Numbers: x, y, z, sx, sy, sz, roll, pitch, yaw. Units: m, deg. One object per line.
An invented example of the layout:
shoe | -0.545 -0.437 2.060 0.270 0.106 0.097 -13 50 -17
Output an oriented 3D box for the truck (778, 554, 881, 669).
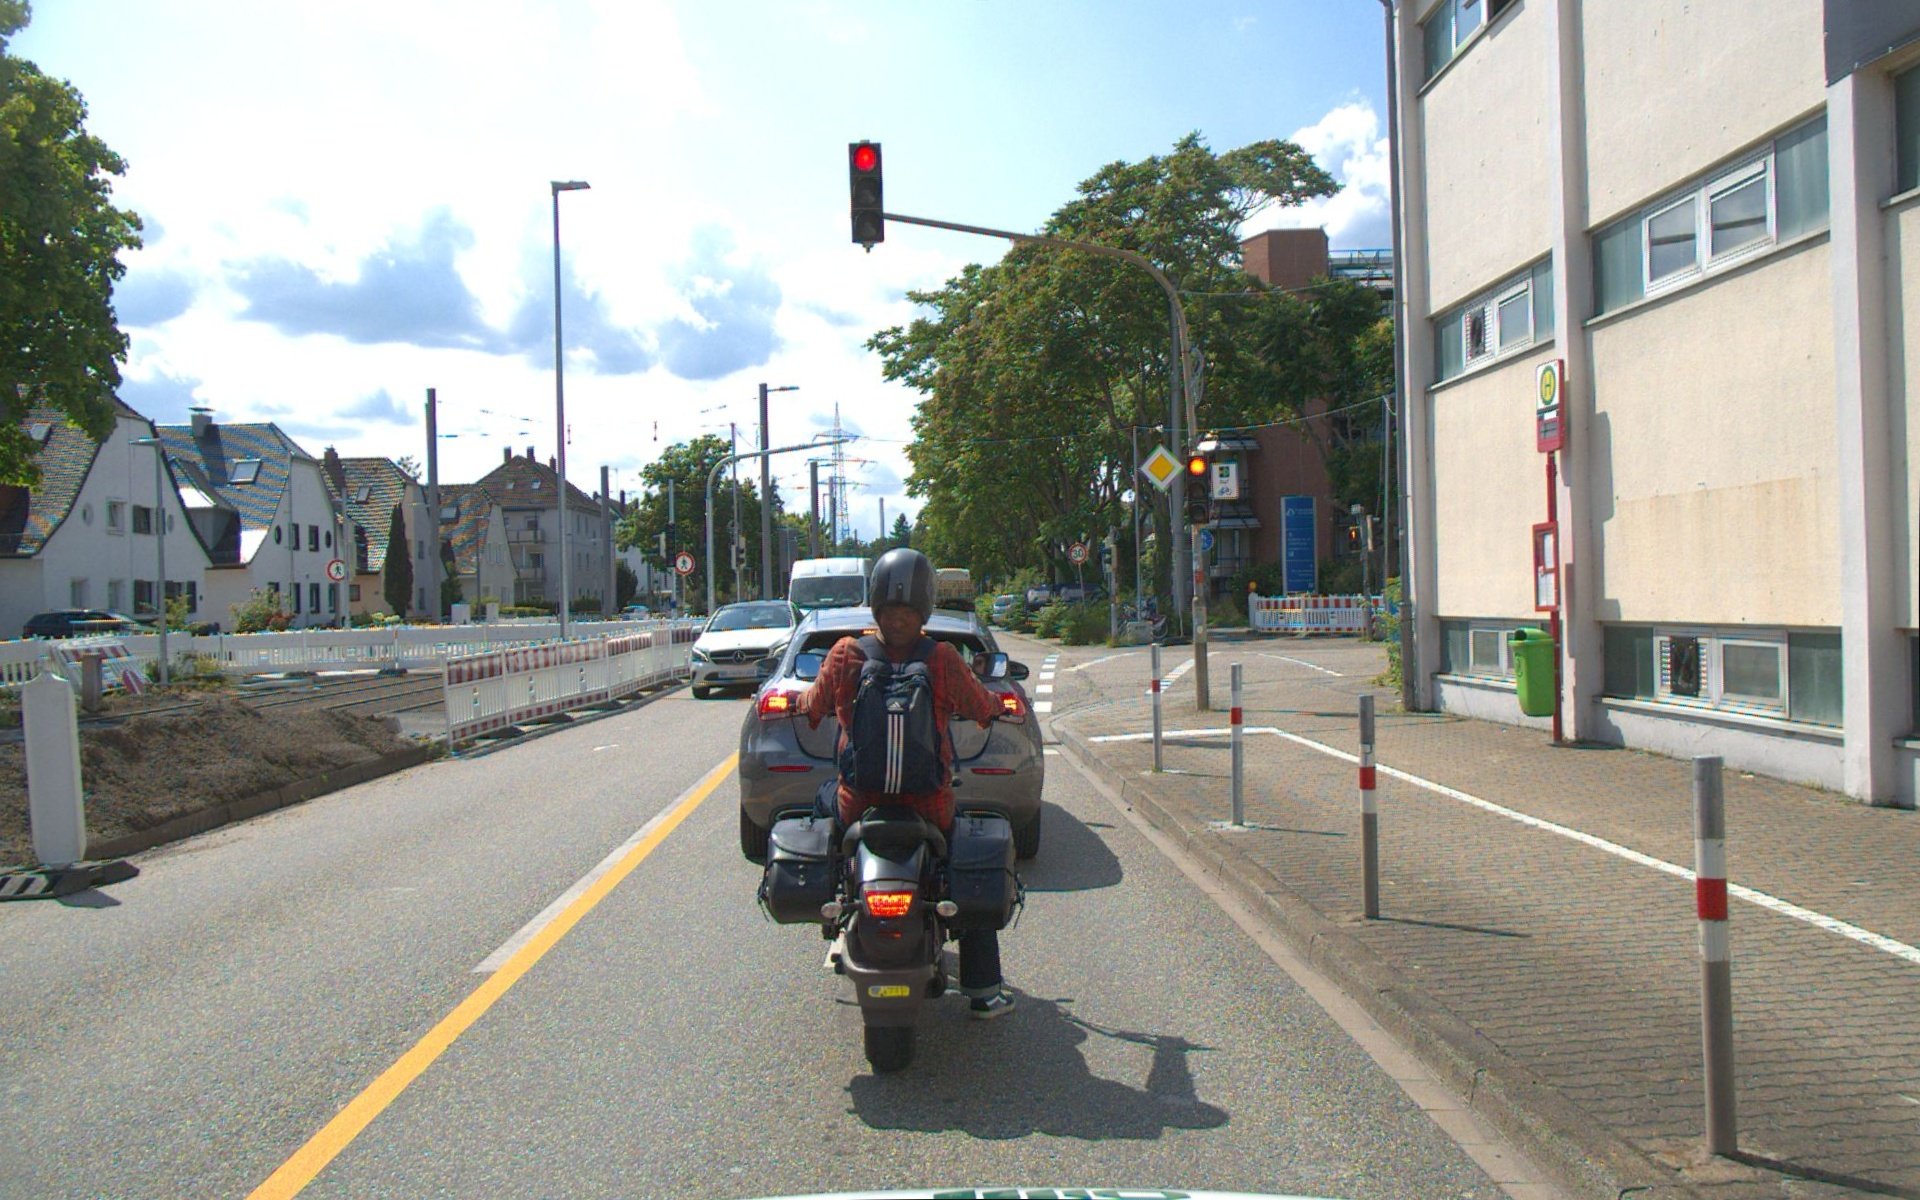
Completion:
truck | -3.098 0.190 40.241 2.050 2.519 5.195 -3 1 -1

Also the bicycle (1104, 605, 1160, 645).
bicycle | 5.257 0.759 50.507 1.672 1.192 0.438 0 -1 3

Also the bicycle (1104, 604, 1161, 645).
bicycle | 5.151 0.728 49.369 1.672 1.192 0.438 0 -1 3

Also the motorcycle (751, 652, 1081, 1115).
motorcycle | -0.156 0.841 5.911 0.923 1.221 2.471 0 0 -2

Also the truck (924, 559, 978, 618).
truck | -0.476 -0.605 95.631 2.906 3.229 7.764 0 -1 1

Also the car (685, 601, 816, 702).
car | -3.385 0.809 27.327 1.709 1.462 4.082 -2 -1 -2

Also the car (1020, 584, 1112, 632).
car | 4.493 0.368 69.651 1.772 1.959 3.973 0 -1 43

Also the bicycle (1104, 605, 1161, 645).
bicycle | 5.204 0.753 49.913 1.672 1.192 0.438 0 -1 3

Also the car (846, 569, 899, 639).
car | -2.785 0.141 53.320 1.557 2.180 3.626 0 -1 -1

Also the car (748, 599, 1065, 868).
car | -0.489 0.722 10.937 1.698 1.428 4.081 1 0 -6

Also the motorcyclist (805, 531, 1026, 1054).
motorcyclist | -0.147 0.604 5.529 0.684 1.632 0.691 0 -1 -2
